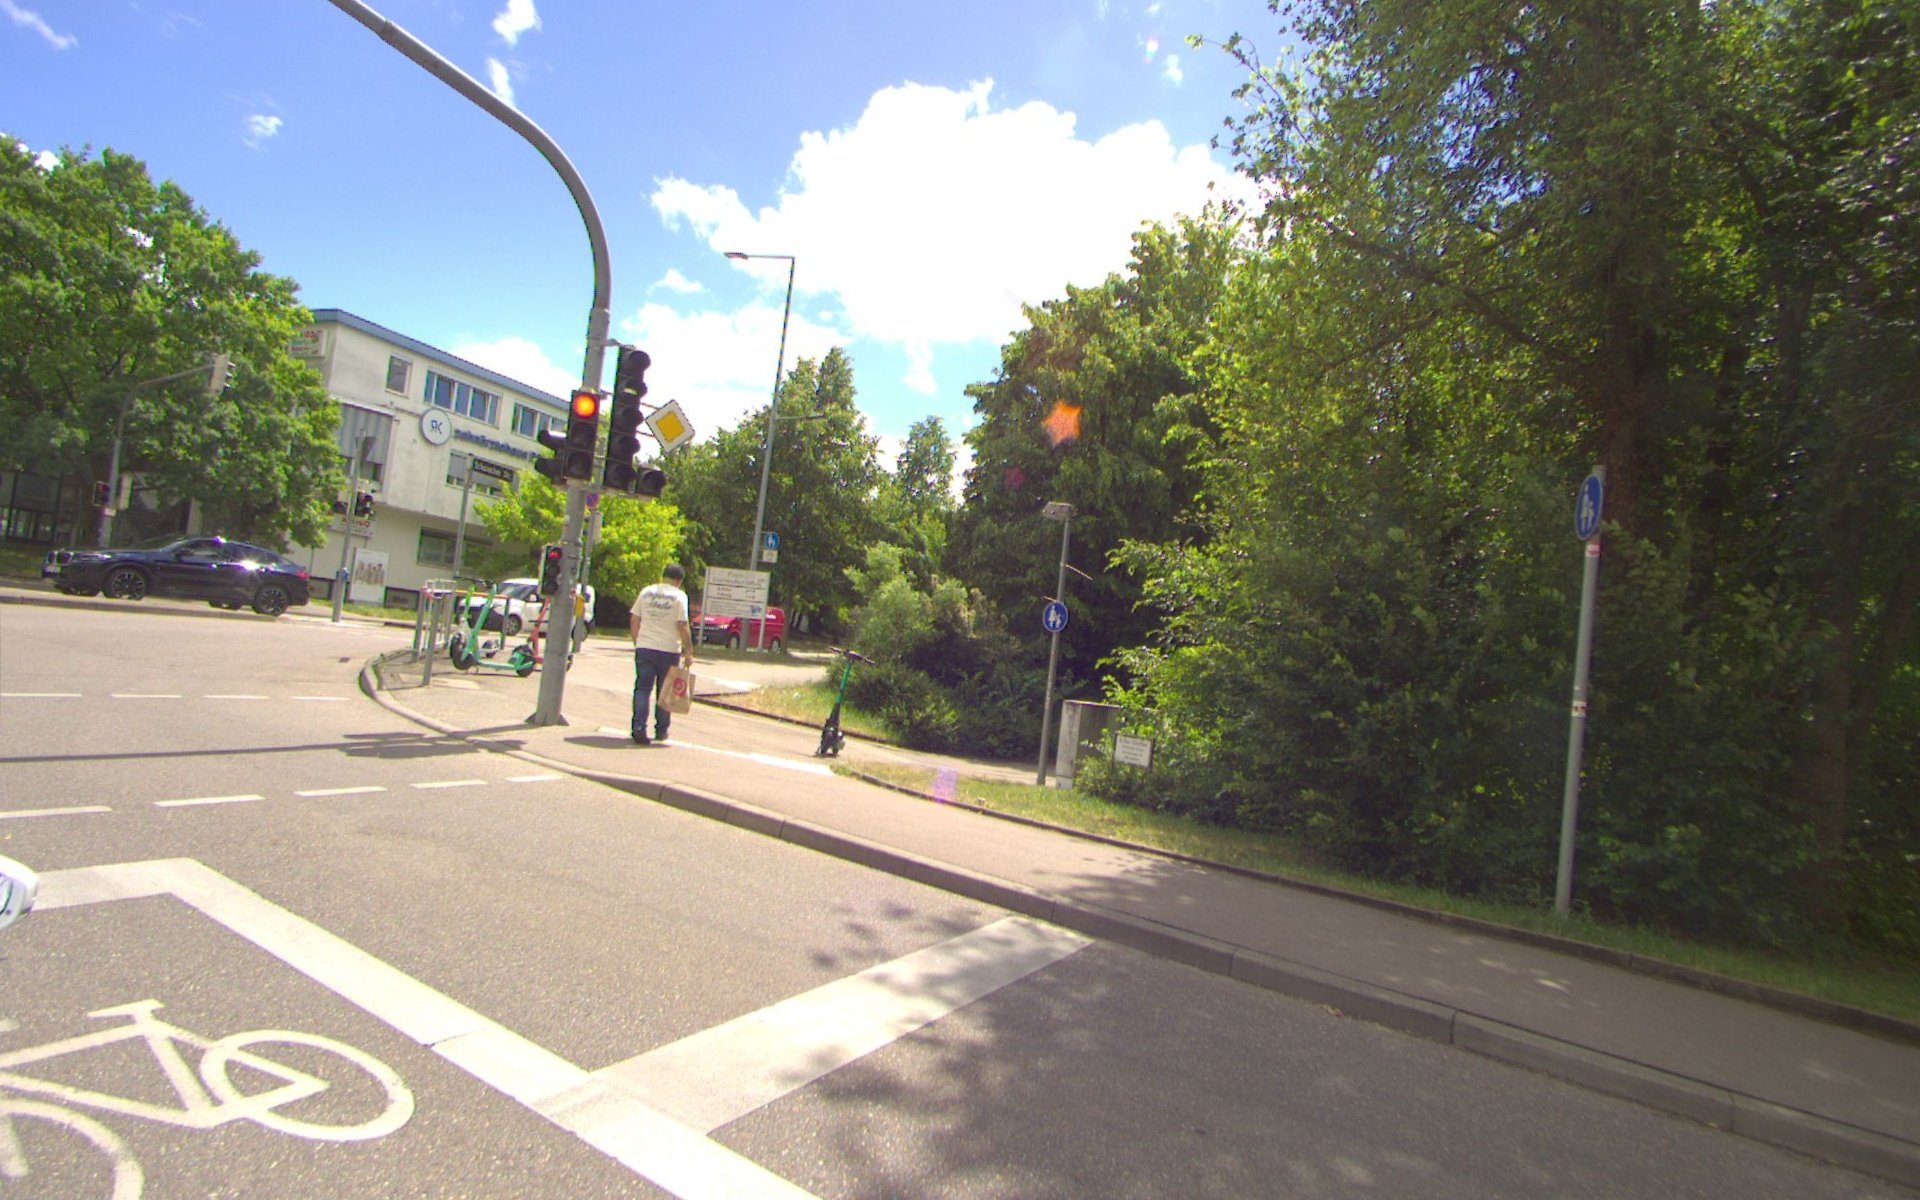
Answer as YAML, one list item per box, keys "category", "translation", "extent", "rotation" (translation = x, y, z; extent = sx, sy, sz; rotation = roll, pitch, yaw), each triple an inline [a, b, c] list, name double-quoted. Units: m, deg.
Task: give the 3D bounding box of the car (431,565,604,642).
- category: "car"
  translation: [-13.318, 0.167, 30.601]
  extent: [1.963, 1.737, 4.576]
  rotation: [7, -2, 22]

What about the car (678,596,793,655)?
- category: "car"
  translation: [-8.921, 1.087, 40.491]
  extent: [1.964, 1.885, 4.822]
  rotation: [5, -3, 22]

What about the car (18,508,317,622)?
- category: "car"
  translation: [-16.947, -0.668, 21.835]
  extent: [1.964, 1.737, 4.575]
  rotation: [7, -2, 24]

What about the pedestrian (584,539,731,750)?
- category: "pedestrian"
  translation: [-2.836, 0.426, 9.492]
  extent: [0.728, 1.829, 0.872]
  rotation: [7, -1, 20]

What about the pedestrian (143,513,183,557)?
- category: "pedestrian"
  translation: [-33.041, -2.691, 41.711]
  extent: [0.890, 1.662, 0.771]
  rotation: [7, -1, 19]

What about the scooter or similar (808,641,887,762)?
- category: "scooter or similar"
  translation: [-1.392, 1.244, 12.268]
  extent: [0.706, 1.287, 1.243]
  rotation: [10, -7, -8]

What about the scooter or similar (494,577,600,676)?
- category: "scooter or similar"
  translation: [-5.986, 0.410, 14.636]
  extent: [0.547, 1.254, 1.231]
  rotation: [8, -3, 23]

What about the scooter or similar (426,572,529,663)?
- category: "scooter or similar"
  translation: [-7.001, 0.277, 14.663]
  extent: [0.533, 1.168, 1.362]
  rotation: [9, -3, 7]

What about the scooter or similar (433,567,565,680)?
- category: "scooter or similar"
  translation: [-5.931, 0.328, 13.003]
  extent: [0.455, 1.292, 1.344]
  rotation: [8, -1, 38]
